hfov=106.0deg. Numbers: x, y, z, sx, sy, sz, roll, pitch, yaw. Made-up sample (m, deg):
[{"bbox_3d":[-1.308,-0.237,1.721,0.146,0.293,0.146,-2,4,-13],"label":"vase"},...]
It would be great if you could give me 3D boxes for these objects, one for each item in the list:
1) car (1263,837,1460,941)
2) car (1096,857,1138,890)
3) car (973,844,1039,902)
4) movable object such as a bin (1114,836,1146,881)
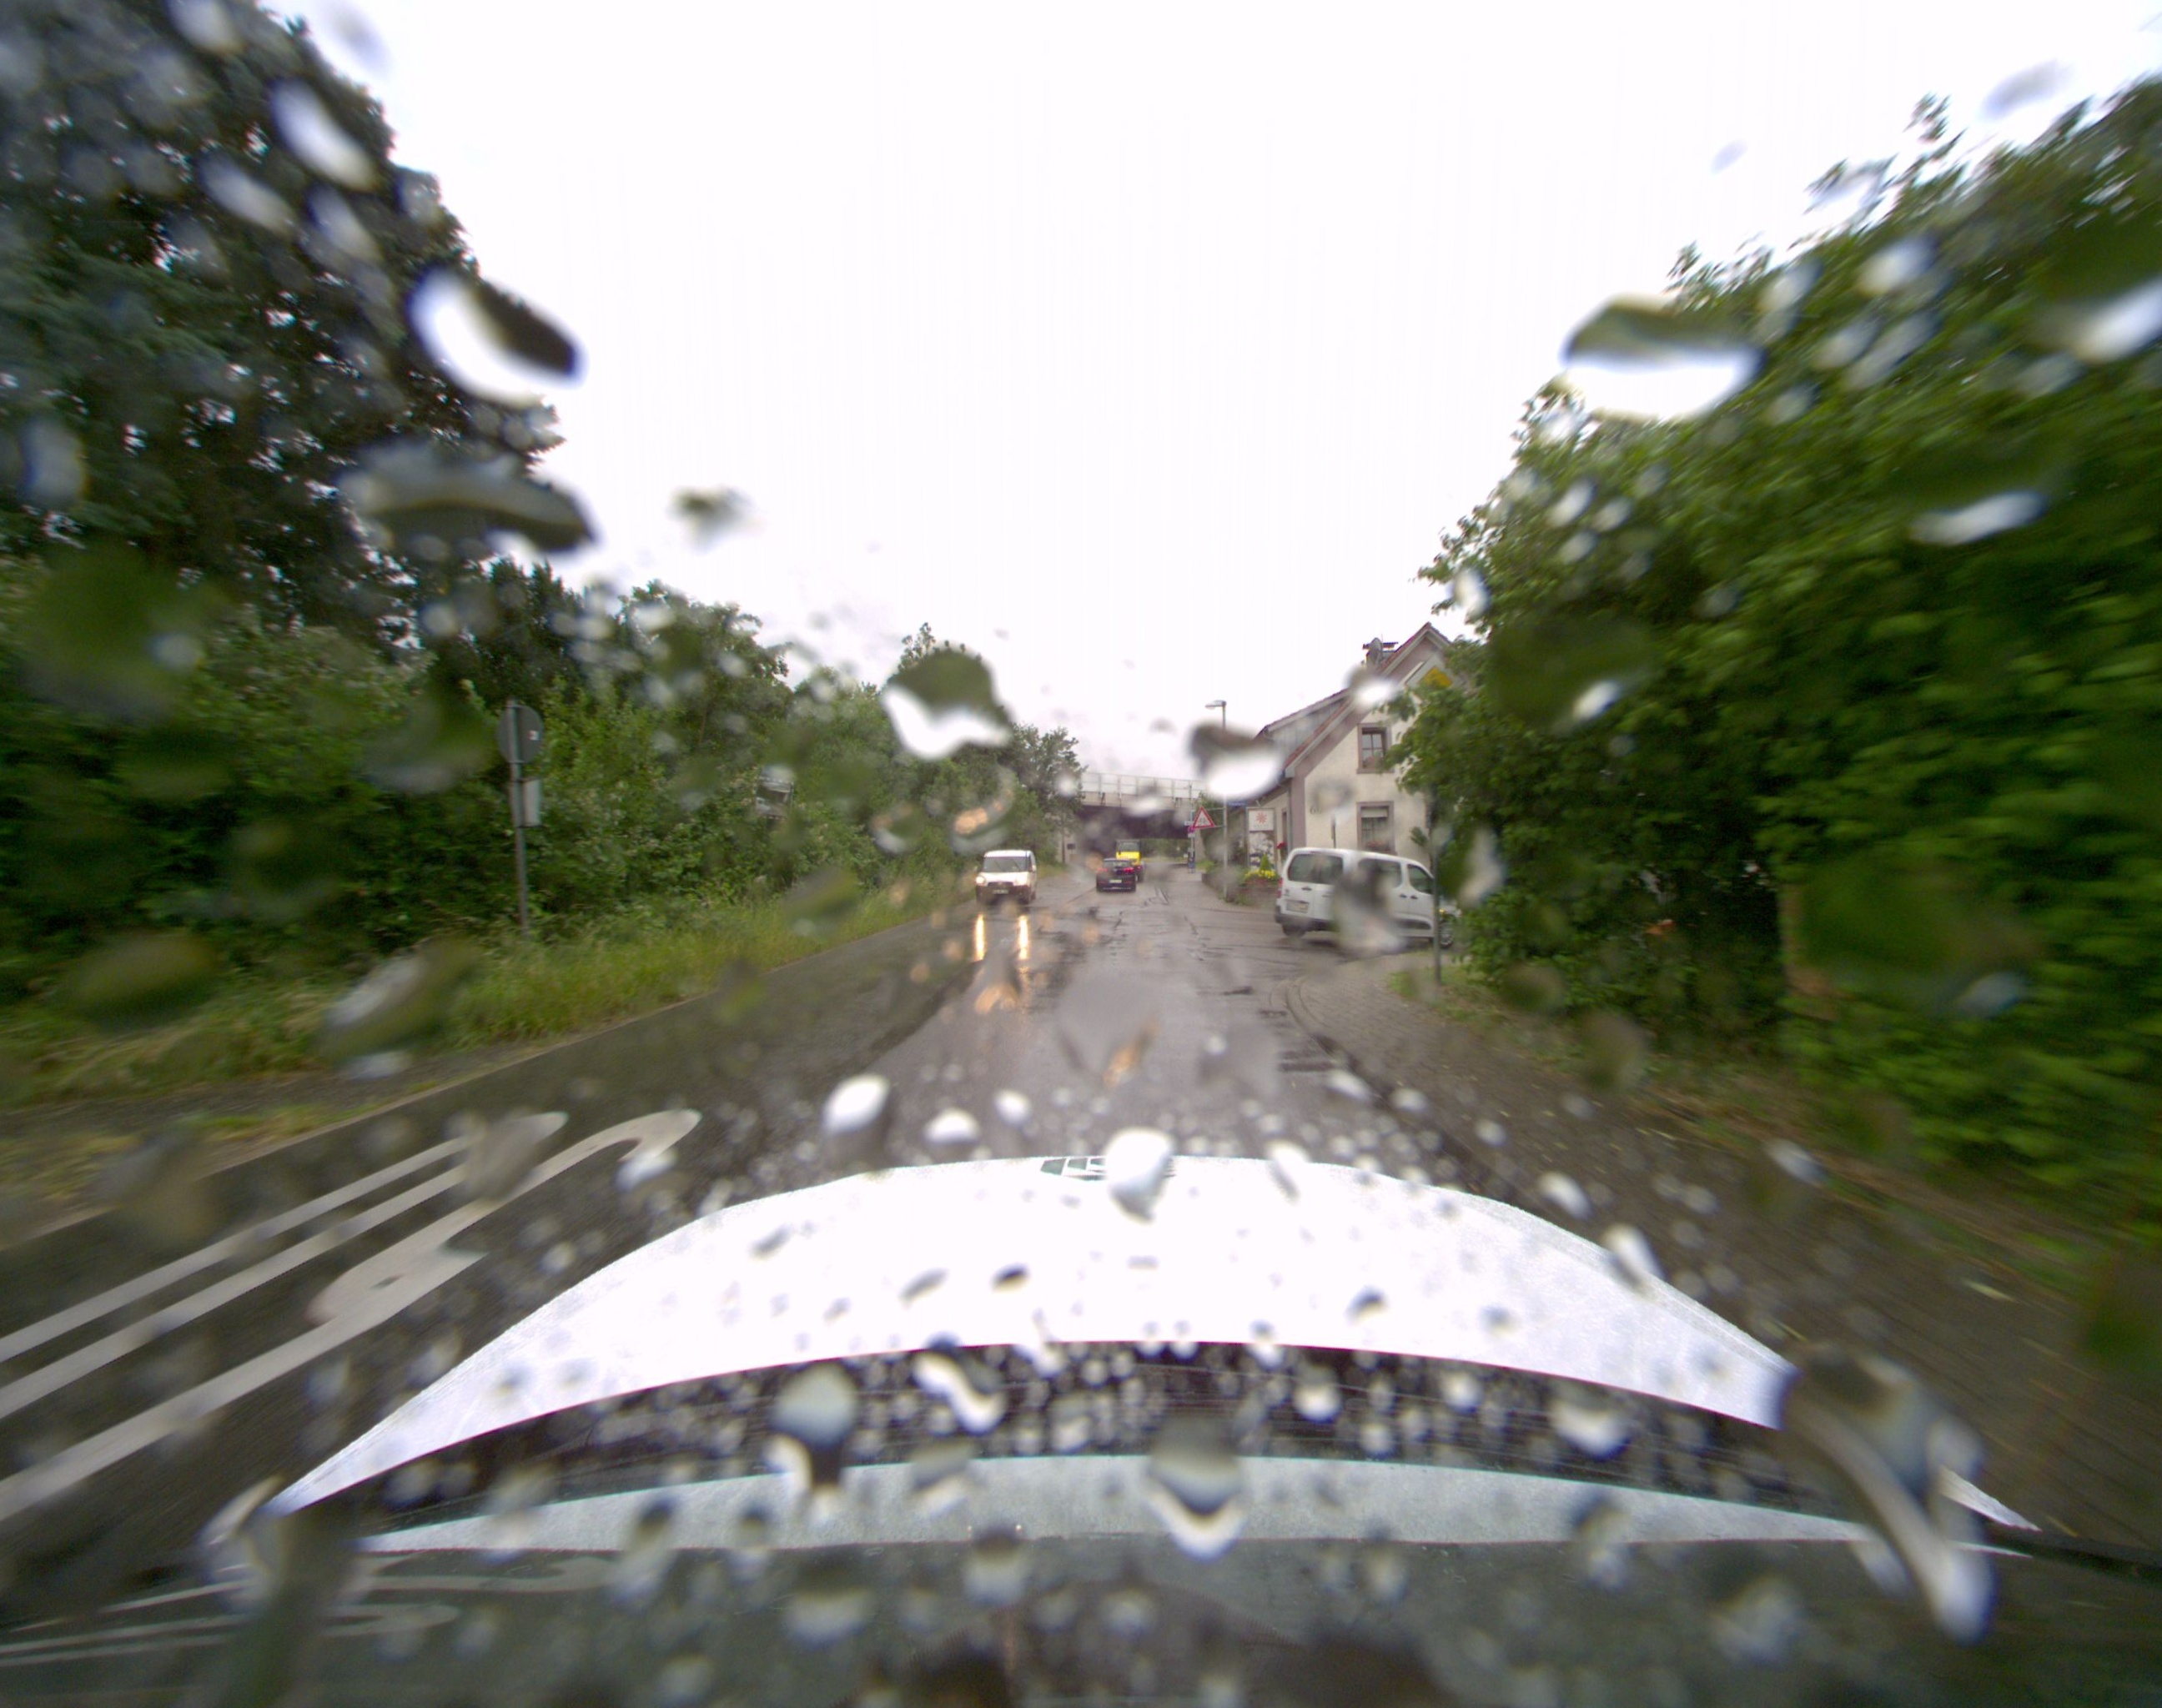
[{"bbox_3d":[5.665,0.595,16.272,4.020,1.807,1.881,-1,0,-39],"label":"car"},{"bbox_3d":[1.660,0.835,36.713,1.700,1.377,4.005,1,0,5],"label":"car"},{"bbox_3d":[-2.471,0.616,27.827,1.817,1.832,4.307,1,0,0],"label":"car"},{"bbox_3d":[2.973,0.280,48.531,1.753,2.548,4.244,1,0,4],"label":"movable object such as a bin"}]
